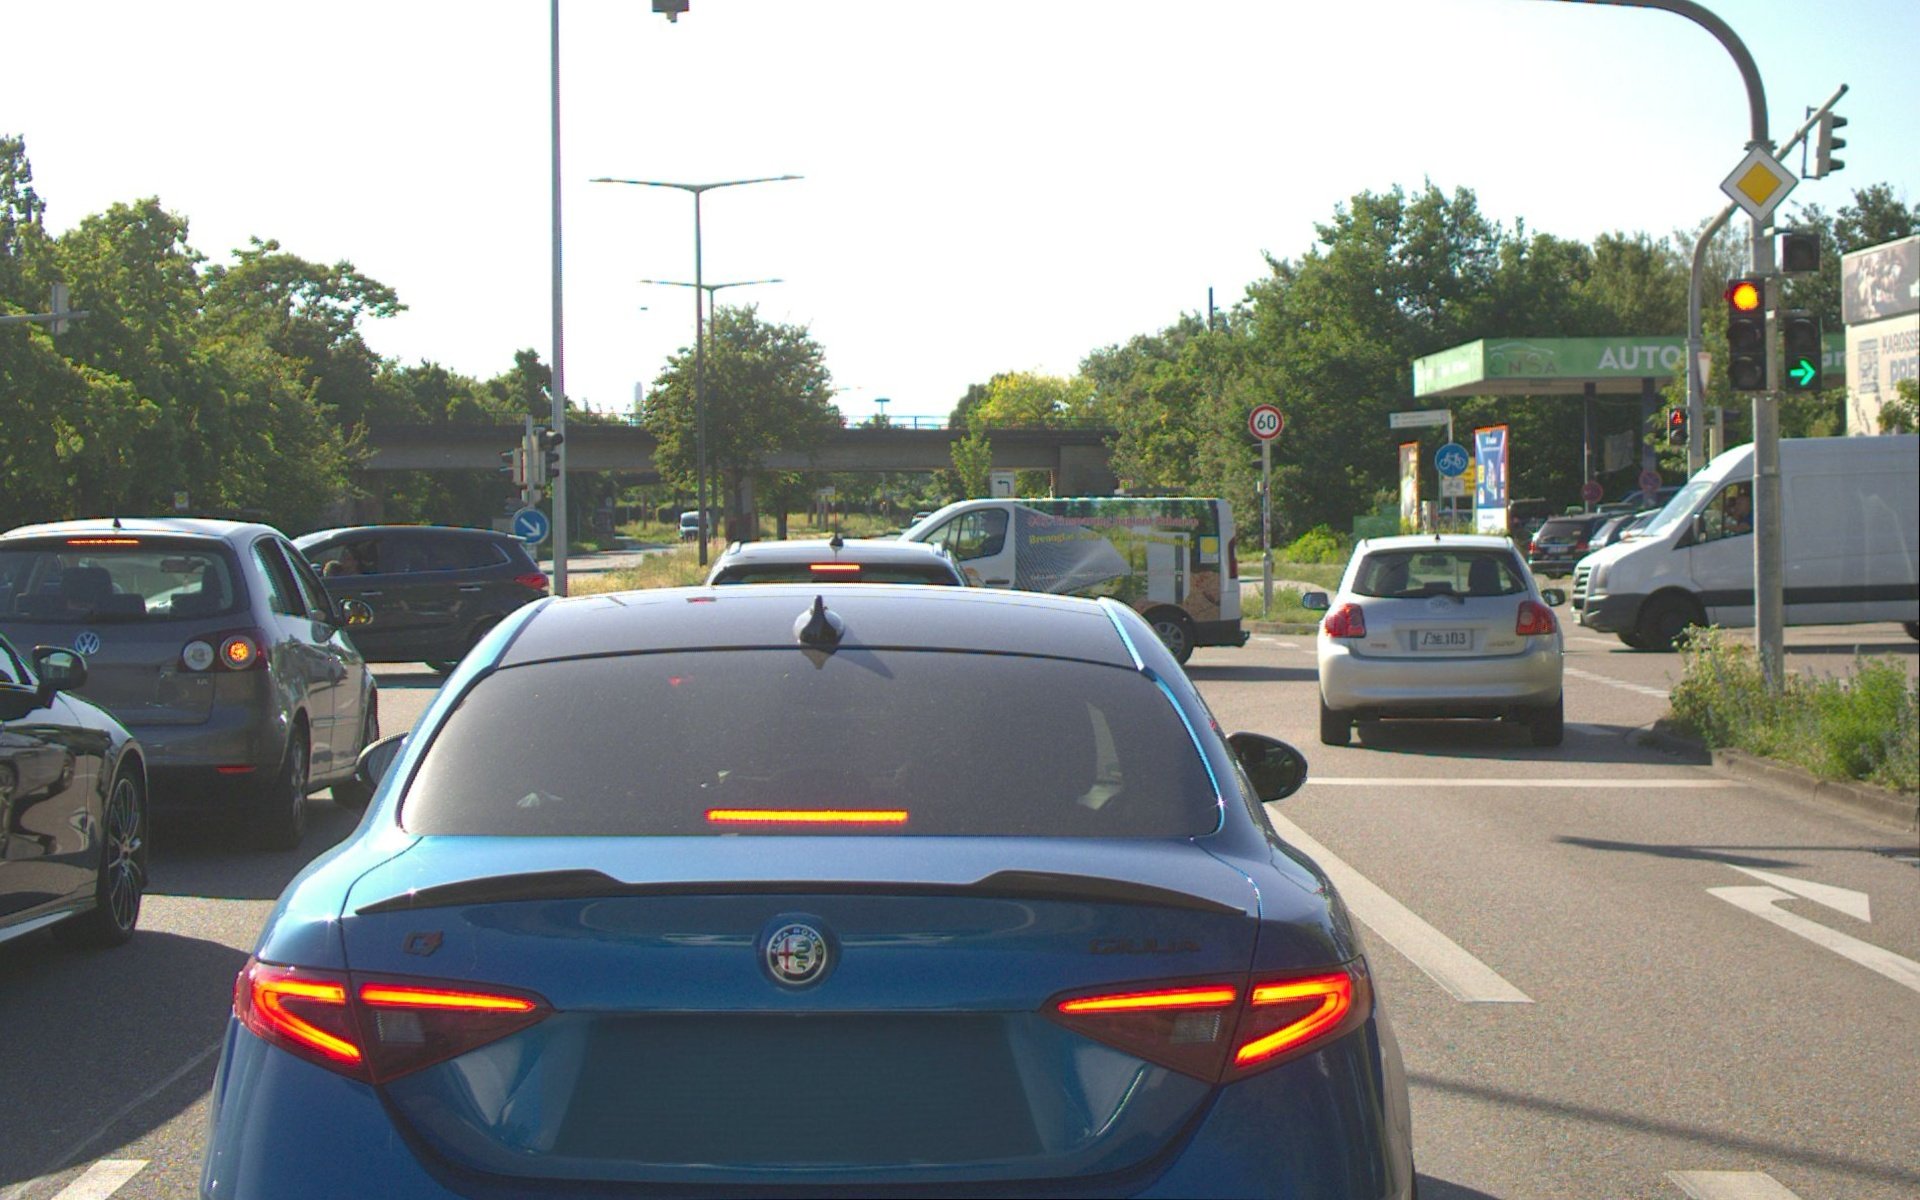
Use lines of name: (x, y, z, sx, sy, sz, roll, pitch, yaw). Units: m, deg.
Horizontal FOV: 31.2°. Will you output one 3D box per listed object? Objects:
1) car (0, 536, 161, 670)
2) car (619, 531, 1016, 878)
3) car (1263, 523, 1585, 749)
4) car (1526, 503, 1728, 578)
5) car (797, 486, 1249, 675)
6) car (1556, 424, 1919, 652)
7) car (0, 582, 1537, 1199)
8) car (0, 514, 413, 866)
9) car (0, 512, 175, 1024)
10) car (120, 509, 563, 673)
car: (-11.508, 0.014, 38.214, 4.818, 1.463, 1.759, 1, 1, -28)
car: (-0.594, 0.439, 16.862, 1.704, 1.492, 3.719, 1, 0, 1)
car: (3.392, 0.203, 25.840, 1.783, 1.531, 4.108, 1, 1, -1)
car: (14.449, -1.291, 74.675, 3.987, 1.547, 2.000, 1, 0, 1)
car: (0.669, -0.231, 39.137, 4.953, 2.029, 1.881, -1, 1, -4)
car: (10.507, -0.783, 42.642, 5.835, 2.663, 2.000, -1, 0, 1)
car: (-0.221, 0.697, 6.104, 1.910, 1.418, 3.719, 1, 0, 1)
car: (-3.962, 0.375, 17.404, 1.812, 1.546, 4.354, 1, 1, -2)
car: (-3.810, 0.498, 10.643, 1.812, 1.546, 4.544, 0, 1, -1)
car: (-6.503, -0.083, 36.169, 4.305, 1.644, 1.638, 1, 0, -23)
